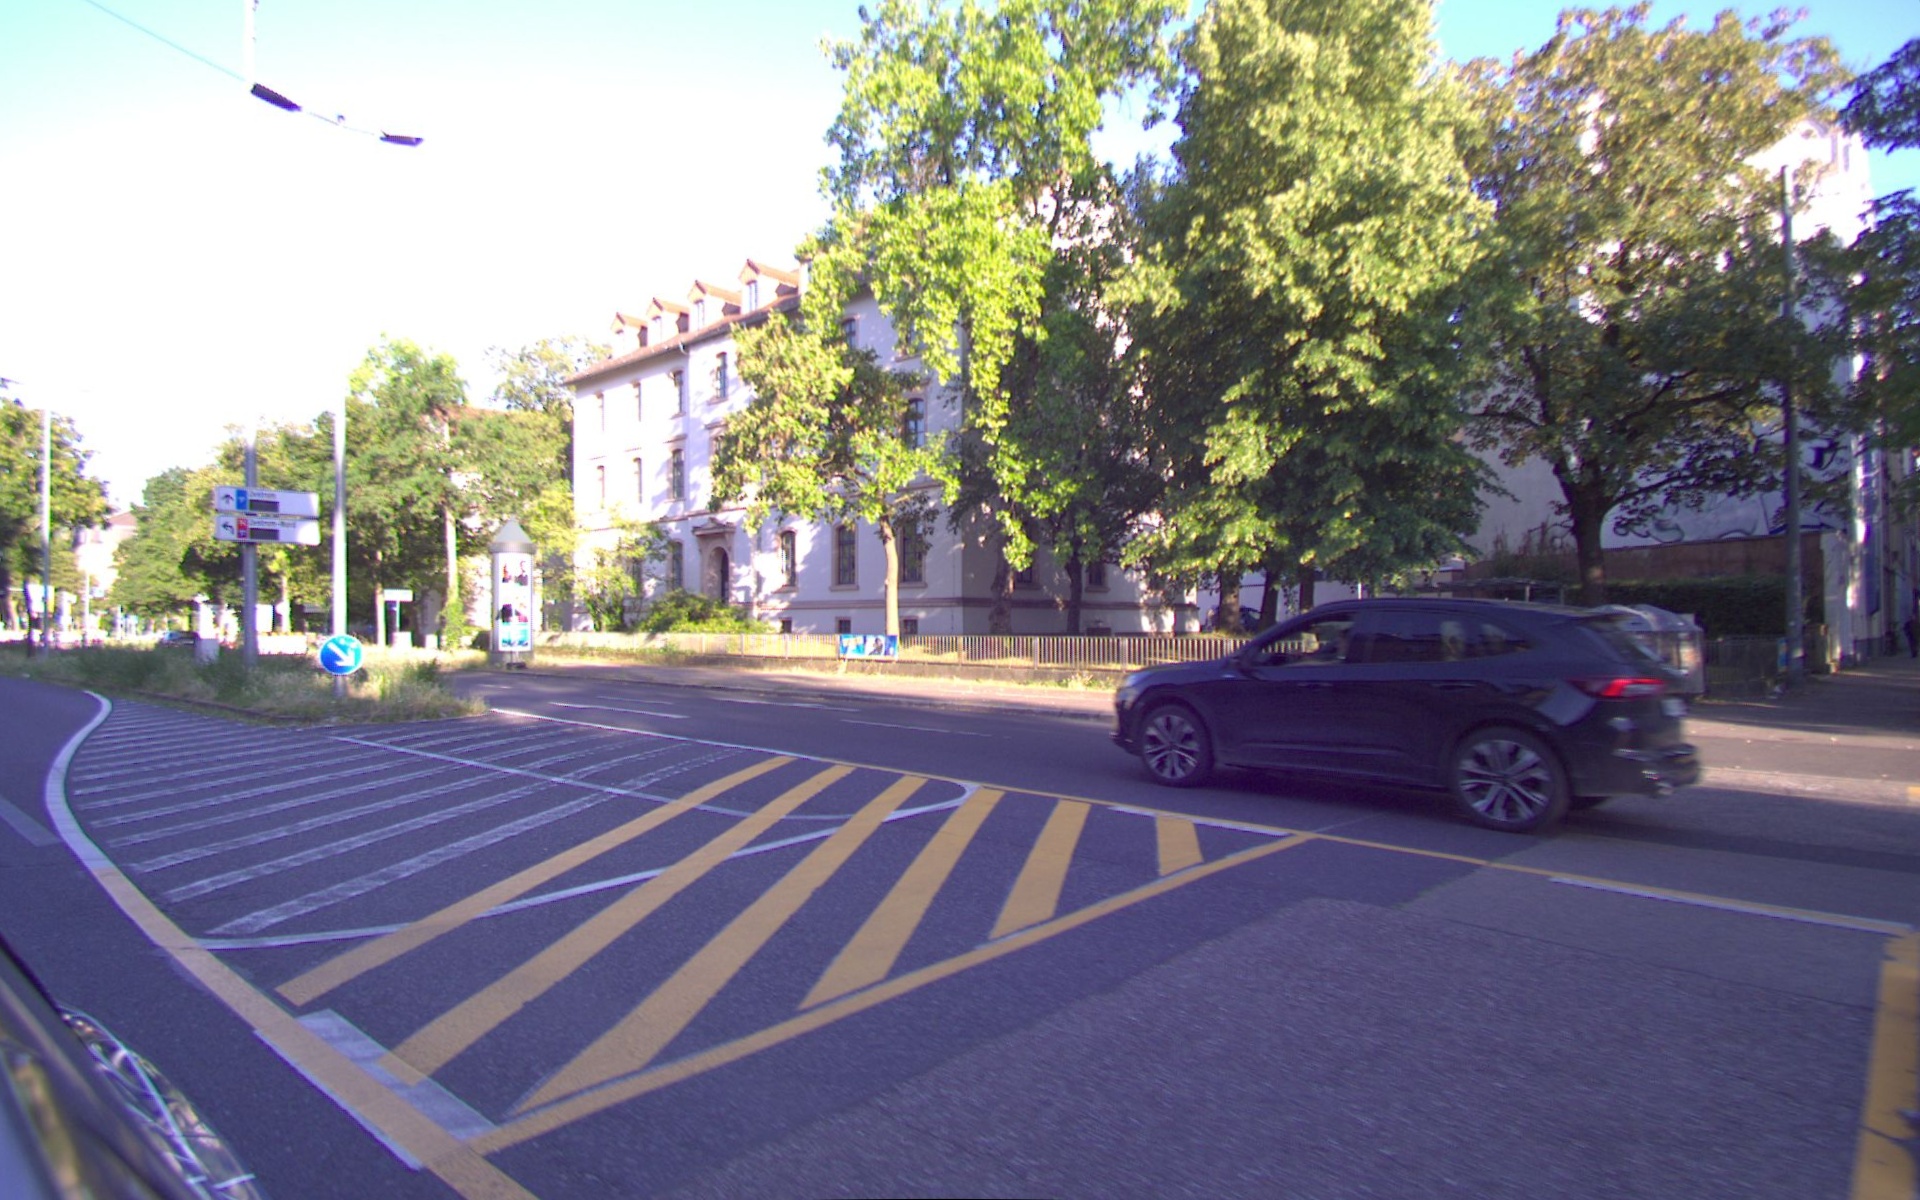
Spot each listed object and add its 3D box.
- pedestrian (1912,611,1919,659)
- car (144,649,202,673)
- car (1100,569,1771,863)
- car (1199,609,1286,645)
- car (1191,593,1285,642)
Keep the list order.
[{"bbox_3d":[40.996,1.471,43.028,0.681,2.029,0.658,1,-2,-41],"label":"pedestrian"},{"bbox_3d":[-44.346,3.432,56.995,4.005,1.283,1.755,-2,-5,41],"label":"car"},{"bbox_3d":[3.536,0.781,8.224,1.855,1.719,4.570,5,-5,-44],"label":"car"},{"bbox_3d":[15.340,1.463,54.988,4.048,1.842,1.966,0,-2,-10],"label":"car"},{"bbox_3d":[11.330,0.703,41.427,3.222,1.837,1.862,-2,0,0],"label":"car"}]
